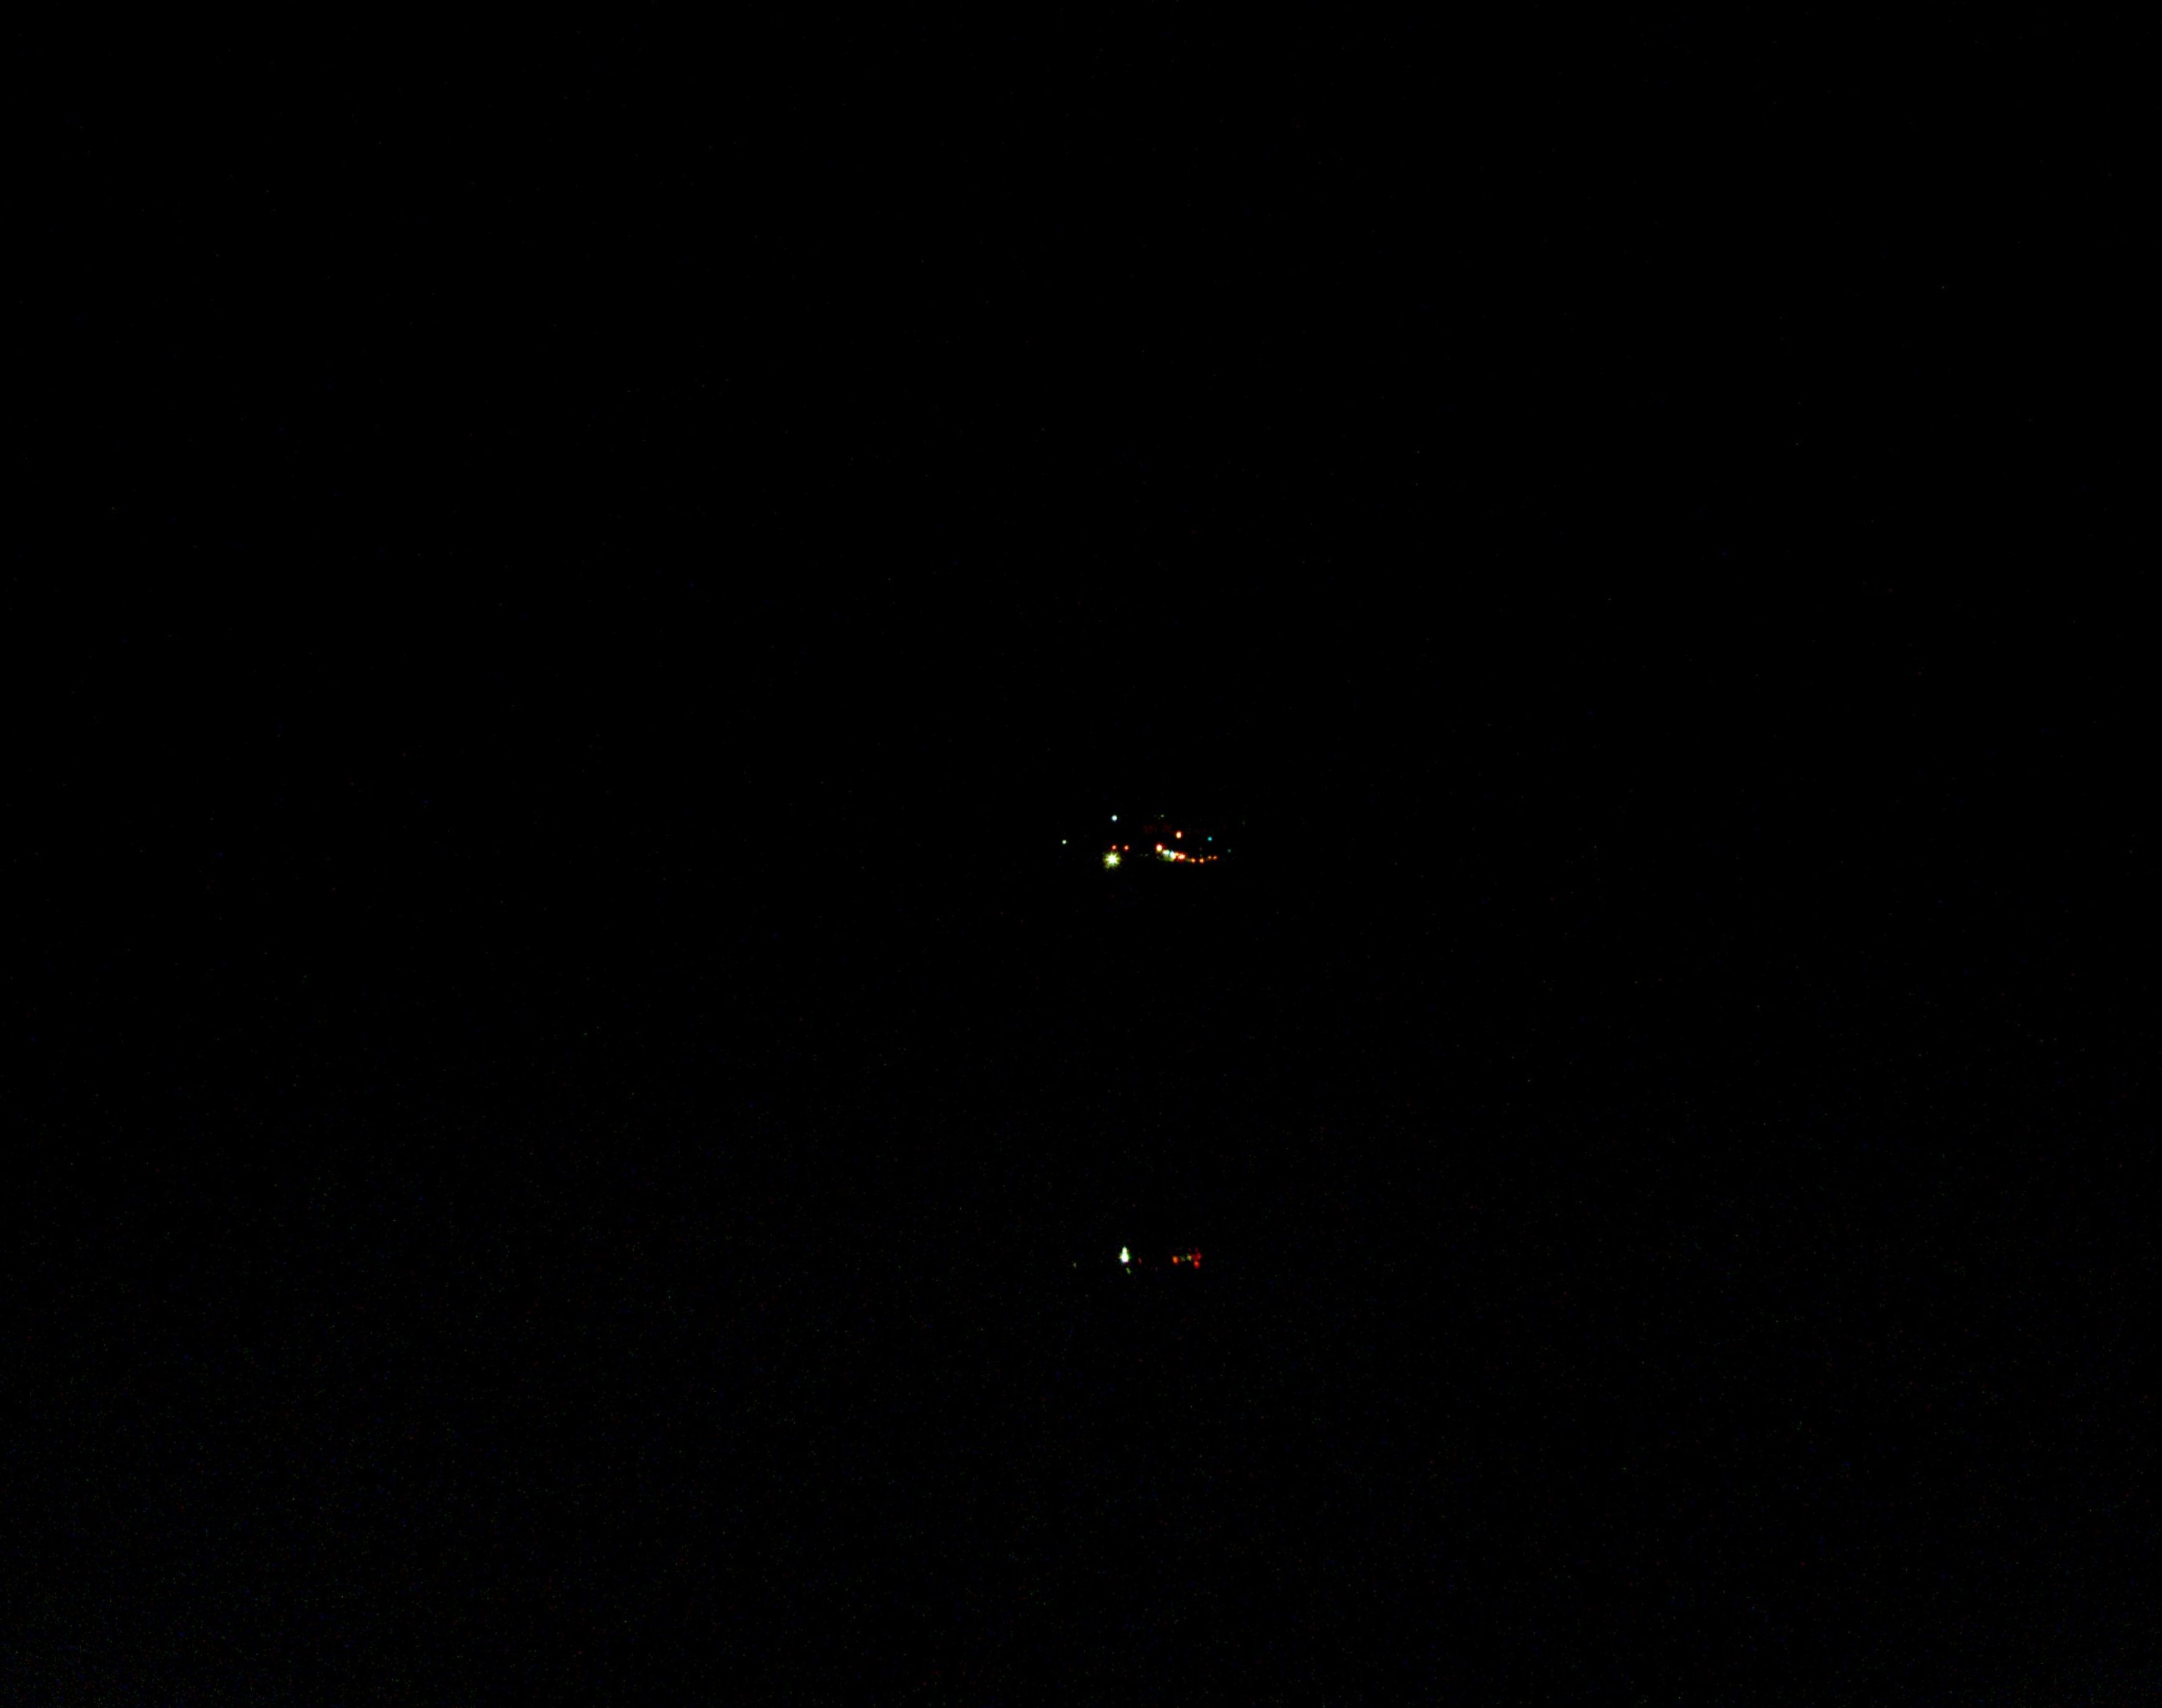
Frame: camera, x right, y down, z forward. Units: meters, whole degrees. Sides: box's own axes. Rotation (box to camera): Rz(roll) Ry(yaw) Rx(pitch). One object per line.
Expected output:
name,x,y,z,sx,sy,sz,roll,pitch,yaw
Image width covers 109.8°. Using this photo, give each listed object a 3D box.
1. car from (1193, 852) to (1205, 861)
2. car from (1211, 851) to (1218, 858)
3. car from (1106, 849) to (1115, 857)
car,19.841,0.418,127.798,1.723,1.439,4.384,-2,1,11
car,33.734,0.083,191.894,1.655,1.467,4.003,-2,1,10
car,5.772,-0.183,146.625,1.570,1.336,4.166,-2,0,1
